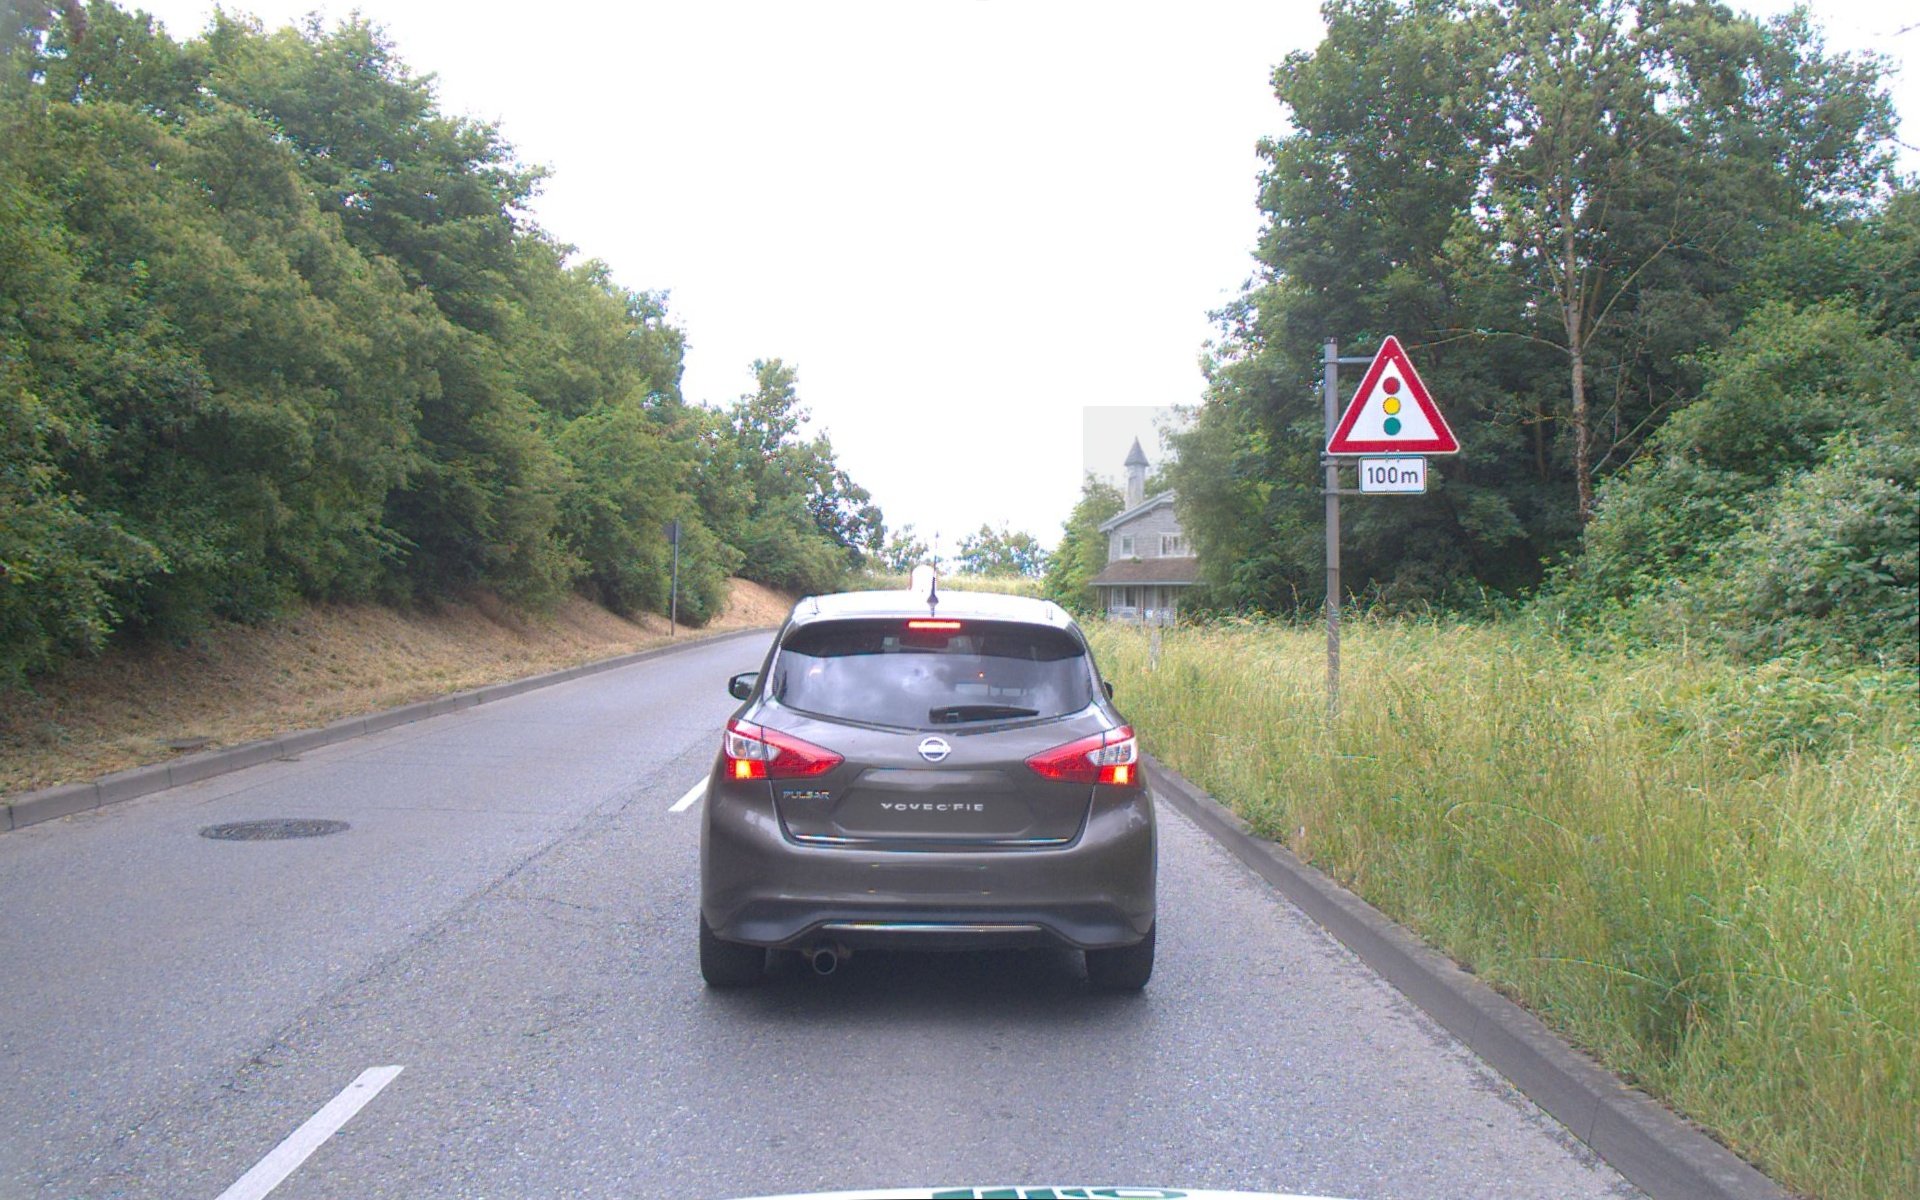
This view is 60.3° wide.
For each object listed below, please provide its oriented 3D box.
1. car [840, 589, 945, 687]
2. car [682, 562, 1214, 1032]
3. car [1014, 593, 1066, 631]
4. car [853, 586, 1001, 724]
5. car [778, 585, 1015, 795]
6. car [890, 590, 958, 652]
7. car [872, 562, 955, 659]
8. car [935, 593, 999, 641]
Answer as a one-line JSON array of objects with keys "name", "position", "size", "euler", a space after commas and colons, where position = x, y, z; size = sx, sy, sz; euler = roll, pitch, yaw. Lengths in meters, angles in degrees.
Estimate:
[{"name": "car", "position": [-1.109, 0.611, 28.626], "size": [1.700, 1.583, 3.543], "euler": [0, 0, -1]}, {"name": "car", "position": [-0.104, 0.665, 7.360], "size": [1.793, 1.583, 3.497], "euler": [1, 0, -3]}, {"name": "car", "position": [3.378, 0.498, 69.388], "size": [1.699, 1.553, 3.644], "euler": [0, 0, 11]}, {"name": "car", "position": [-0.392, 0.627, 20.866], "size": [1.700, 1.583, 3.543], "euler": [0, 0, -1]}, {"name": "car", "position": [-0.493, 0.670, 14.317], "size": [1.793, 1.583, 3.624], "euler": [0, 0, -1]}, {"name": "car", "position": [-0.979, 0.521, 43.212], "size": [1.701, 1.553, 3.542], "euler": [0, 0, -2]}, {"name": "car", "position": [-1.024, 0.209, 35.677], "size": [1.701, 1.968, 3.542], "euler": [0, 0, -2]}, {"name": "car", "position": [0.268, 0.536, 55.758], "size": [1.699, 1.553, 3.644], "euler": [0, 0, 7]}]
